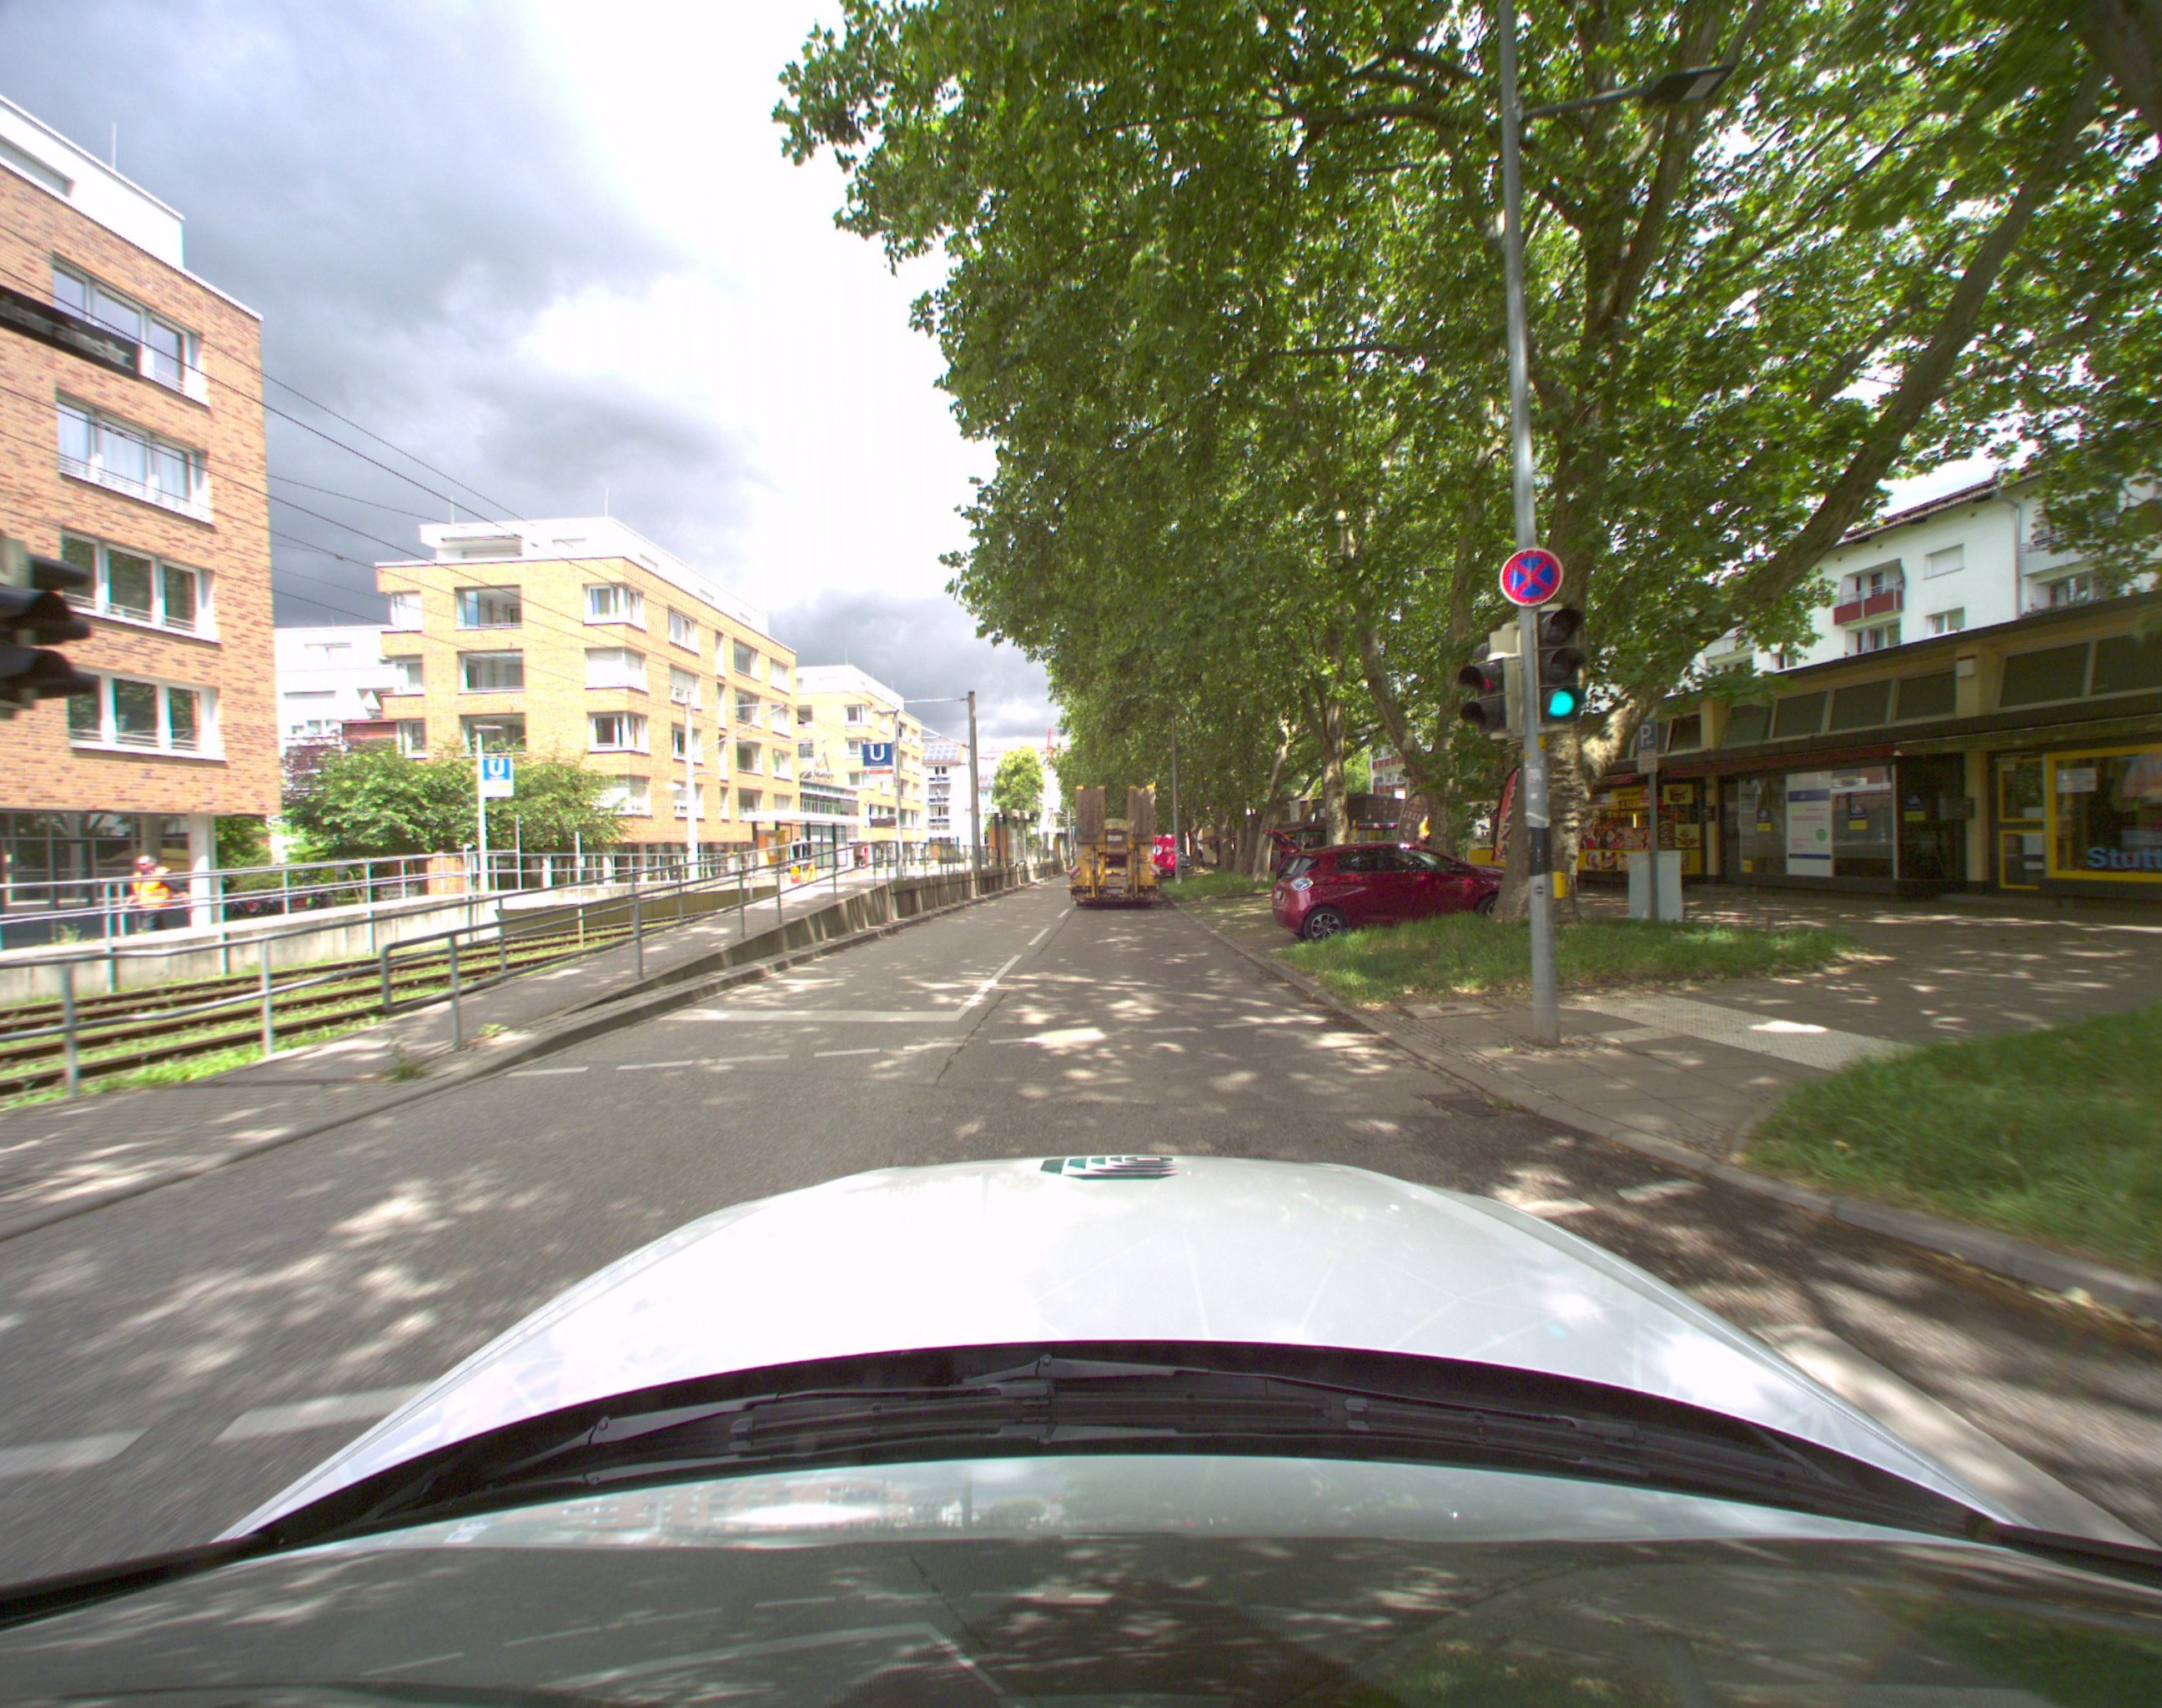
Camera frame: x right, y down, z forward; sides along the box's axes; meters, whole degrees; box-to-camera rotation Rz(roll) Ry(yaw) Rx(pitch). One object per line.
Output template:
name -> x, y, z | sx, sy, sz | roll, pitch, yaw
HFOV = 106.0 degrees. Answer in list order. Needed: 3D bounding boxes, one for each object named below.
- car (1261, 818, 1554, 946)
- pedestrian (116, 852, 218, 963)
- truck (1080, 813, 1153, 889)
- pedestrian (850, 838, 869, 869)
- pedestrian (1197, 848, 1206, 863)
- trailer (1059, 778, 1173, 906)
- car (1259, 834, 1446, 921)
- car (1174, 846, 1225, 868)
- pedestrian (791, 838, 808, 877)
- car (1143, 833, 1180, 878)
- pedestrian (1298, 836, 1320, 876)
car -> 5.129, 0.435, 13.264 | 4.010, 1.611, 1.733 | -5, 0, 5
pedestrian -> -15.595, 0.889, 13.920 | 0.740, 1.825, 0.829 | -2, 0, 1
truck -> 1.700, -0.122, 37.871 | 2.977, 3.135, 7.894 | -1, 0, 3
pedestrian -> -12.085, -0.033, 44.418 | 0.748, 1.629, 0.816 | -1, 0, 3
pedestrian -> 11.343, 0.154, 76.419 | 0.693, 1.392, 0.512 | -2, 0, -2
trailer -> 1.228, -0.322, 28.343 | 3.141, 3.552, 11.104 | -1, 0, 3
car -> 5.767, 0.483, 17.568 | 3.398, 1.514, 1.609 | -4, 0, -2
car -> 9.762, 0.260, 67.314 | 3.822, 1.562, 1.617 | -3, 0, -4
pedestrian -> -12.704, 0.158, 36.703 | 0.532, 1.764, 0.528 | -2, -1, 0
car -> 5.046, 0.087, 51.918 | 1.896, 2.581, 6.839 | -3, 0, 3
pedestrian -> 11.195, 0.089, 39.988 | 0.740, 1.883, 0.942 | -4, -1, 2
